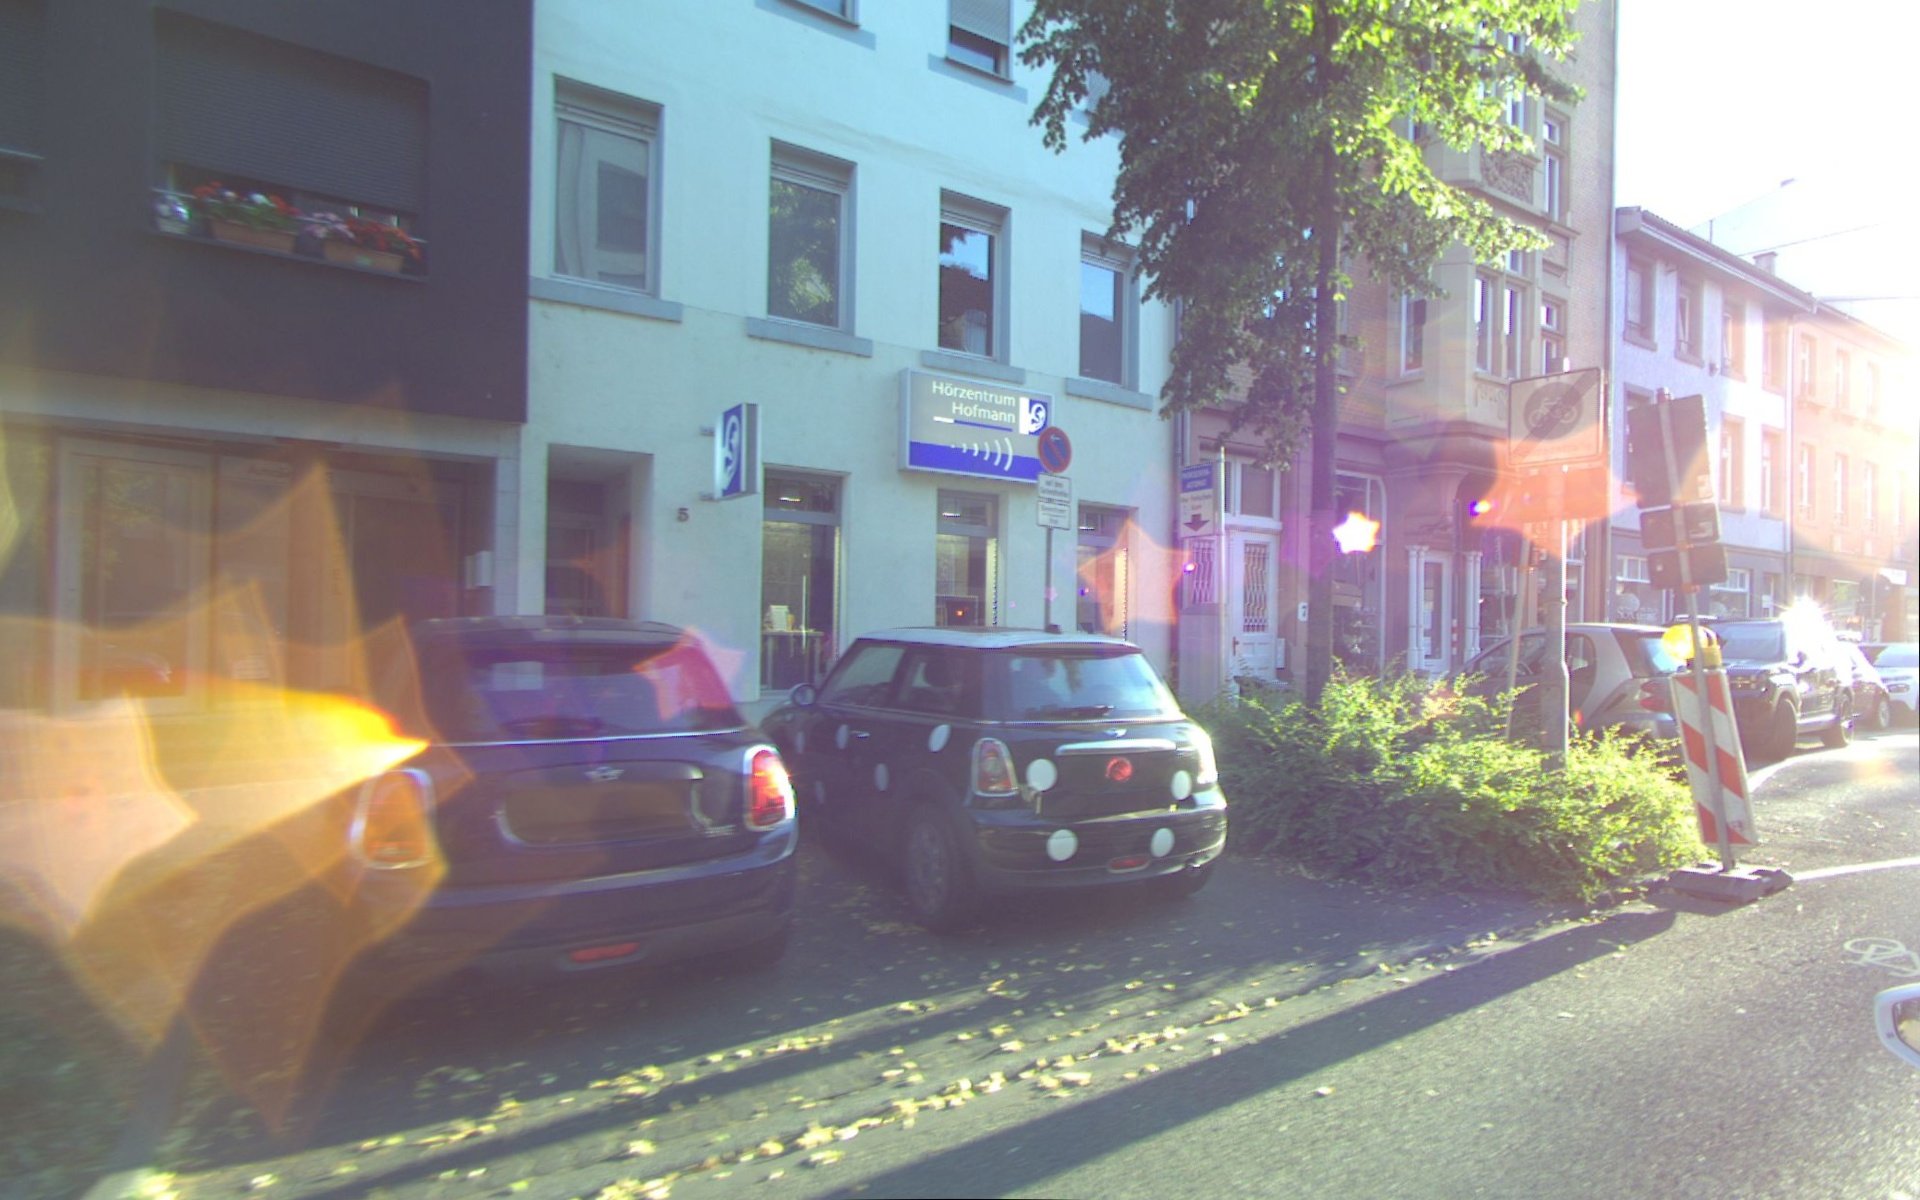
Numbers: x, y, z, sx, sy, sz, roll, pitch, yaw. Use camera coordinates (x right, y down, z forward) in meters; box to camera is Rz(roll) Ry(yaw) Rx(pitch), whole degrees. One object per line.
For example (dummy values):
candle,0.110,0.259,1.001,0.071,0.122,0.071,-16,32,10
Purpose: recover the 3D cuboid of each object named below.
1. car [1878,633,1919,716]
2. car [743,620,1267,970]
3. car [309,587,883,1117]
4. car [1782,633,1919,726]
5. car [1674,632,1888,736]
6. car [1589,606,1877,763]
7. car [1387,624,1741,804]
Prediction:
car,21.202,1.565,21.114,4.190,1.654,1.764,2,-1,-32
car,-0.001,0.872,6.139,1.666,1.410,3.381,1,-1,-29
car,-2.077,0.748,5.065,1.836,1.537,3.873,1,-1,-31
car,17.463,1.441,19.025,3.906,1.535,1.764,2,-1,-32
car,13.717,1.329,16.770,3.445,1.535,1.764,2,-2,-32
car,10.431,1.055,13.446,4.659,1.751,1.891,2,-3,-37
car,6.028,1.043,10.217,1.556,1.540,2.677,0,-2,-35
